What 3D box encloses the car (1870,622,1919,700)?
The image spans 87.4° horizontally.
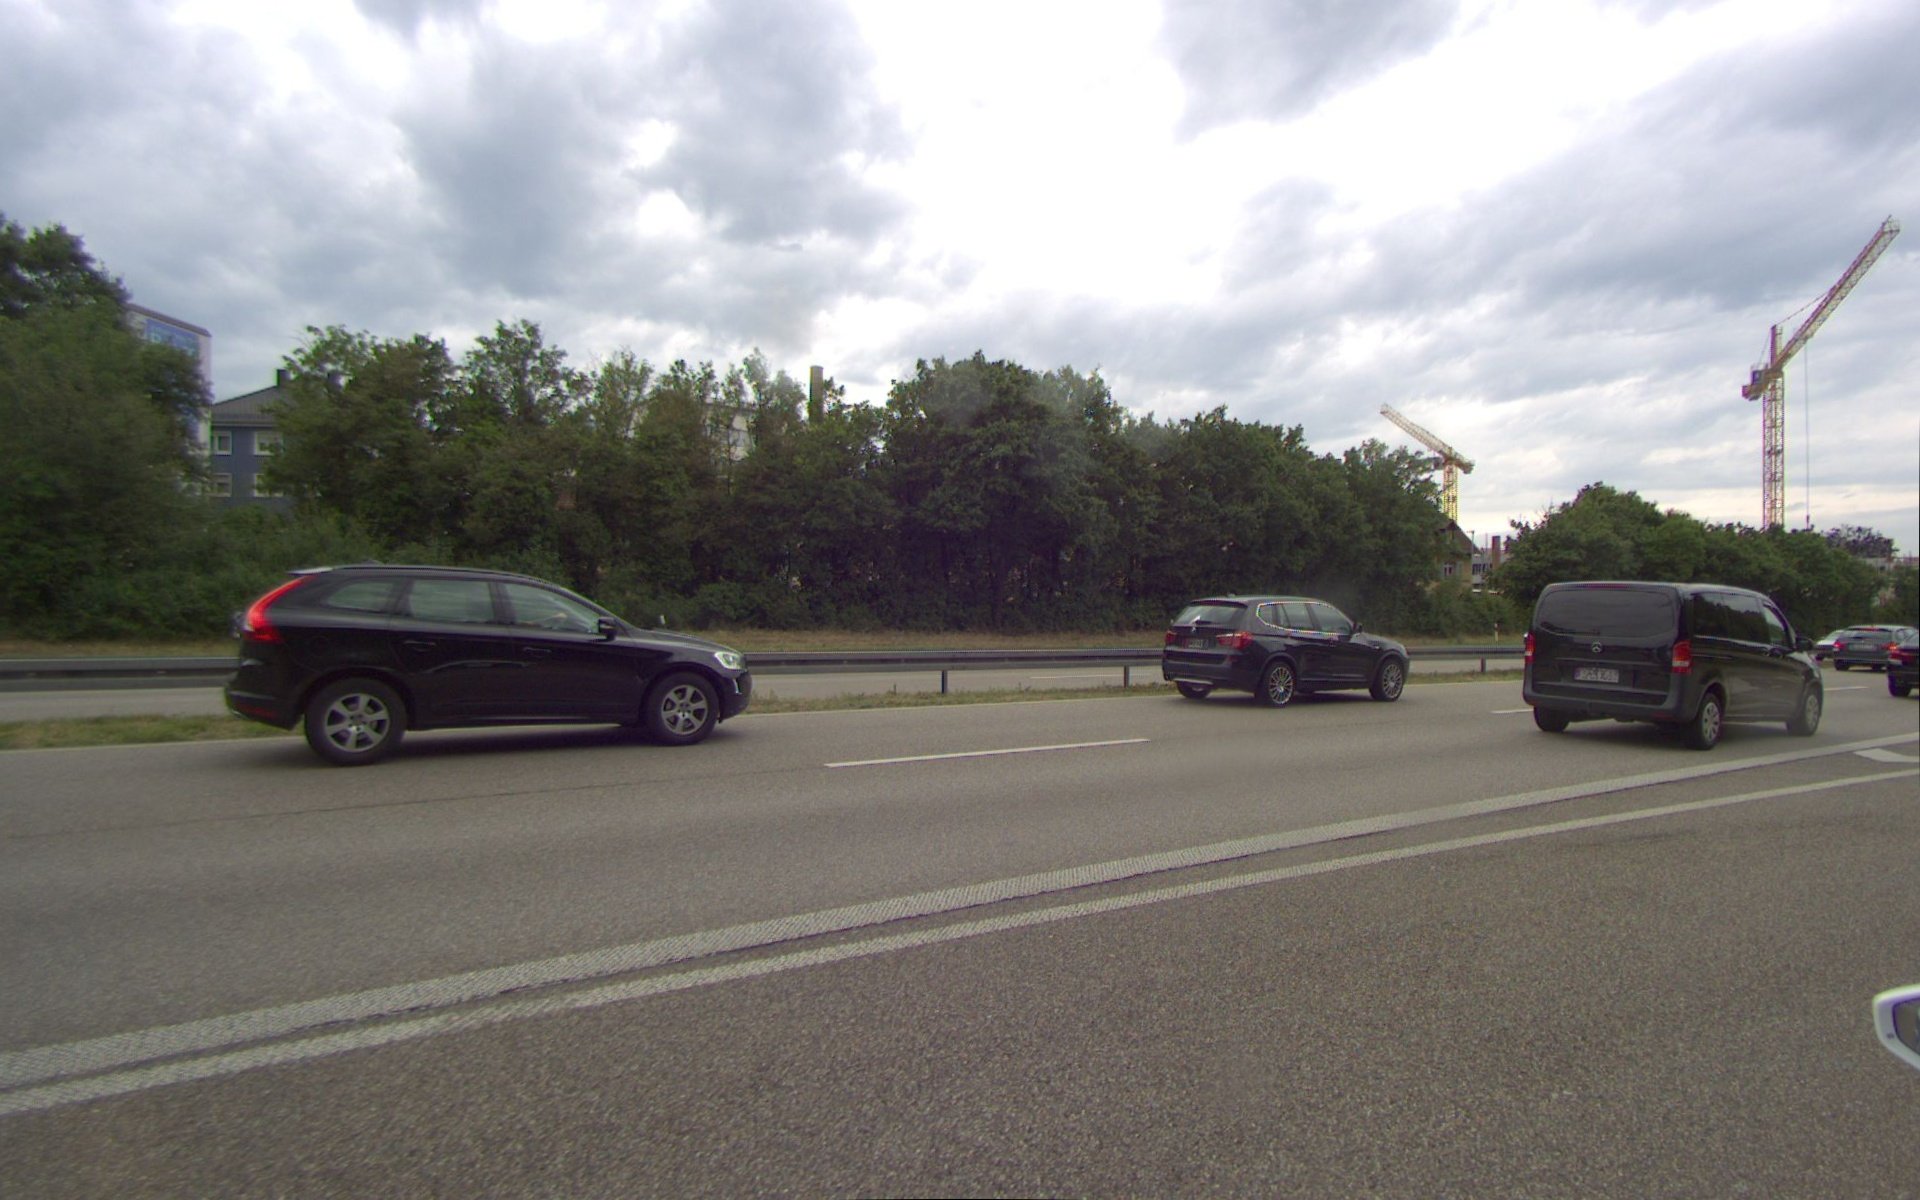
[{"bbox_3d":[20.666,1.264,20.567,4.779,1.479,1.836,2,0,-33],"label":"car"}]

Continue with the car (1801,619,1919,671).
[{"bbox_3d":[28.322,1.390,31.313,4.645,1.467,1.705,2,0,-30],"label":"car"}]

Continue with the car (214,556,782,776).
[{"bbox_3d":[-4.217,0.552,9.674,4.635,1.677,1.735,1,-1,-34],"label":"car"}]

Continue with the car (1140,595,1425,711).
[{"bbox_3d":[5.260,0.794,16.181,4.600,1.635,1.850,1,-1,-32],"label":"car"}]

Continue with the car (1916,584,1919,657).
[{"bbox_3d":[36.816,0.771,36.261,5.299,2.587,1.984,1,-1,-30],"label":"car"}]

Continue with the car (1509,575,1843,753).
[{"bbox_3d":[9.423,0.741,13.077,4.935,1.923,1.975,2,0,-35],"label":"car"}]
